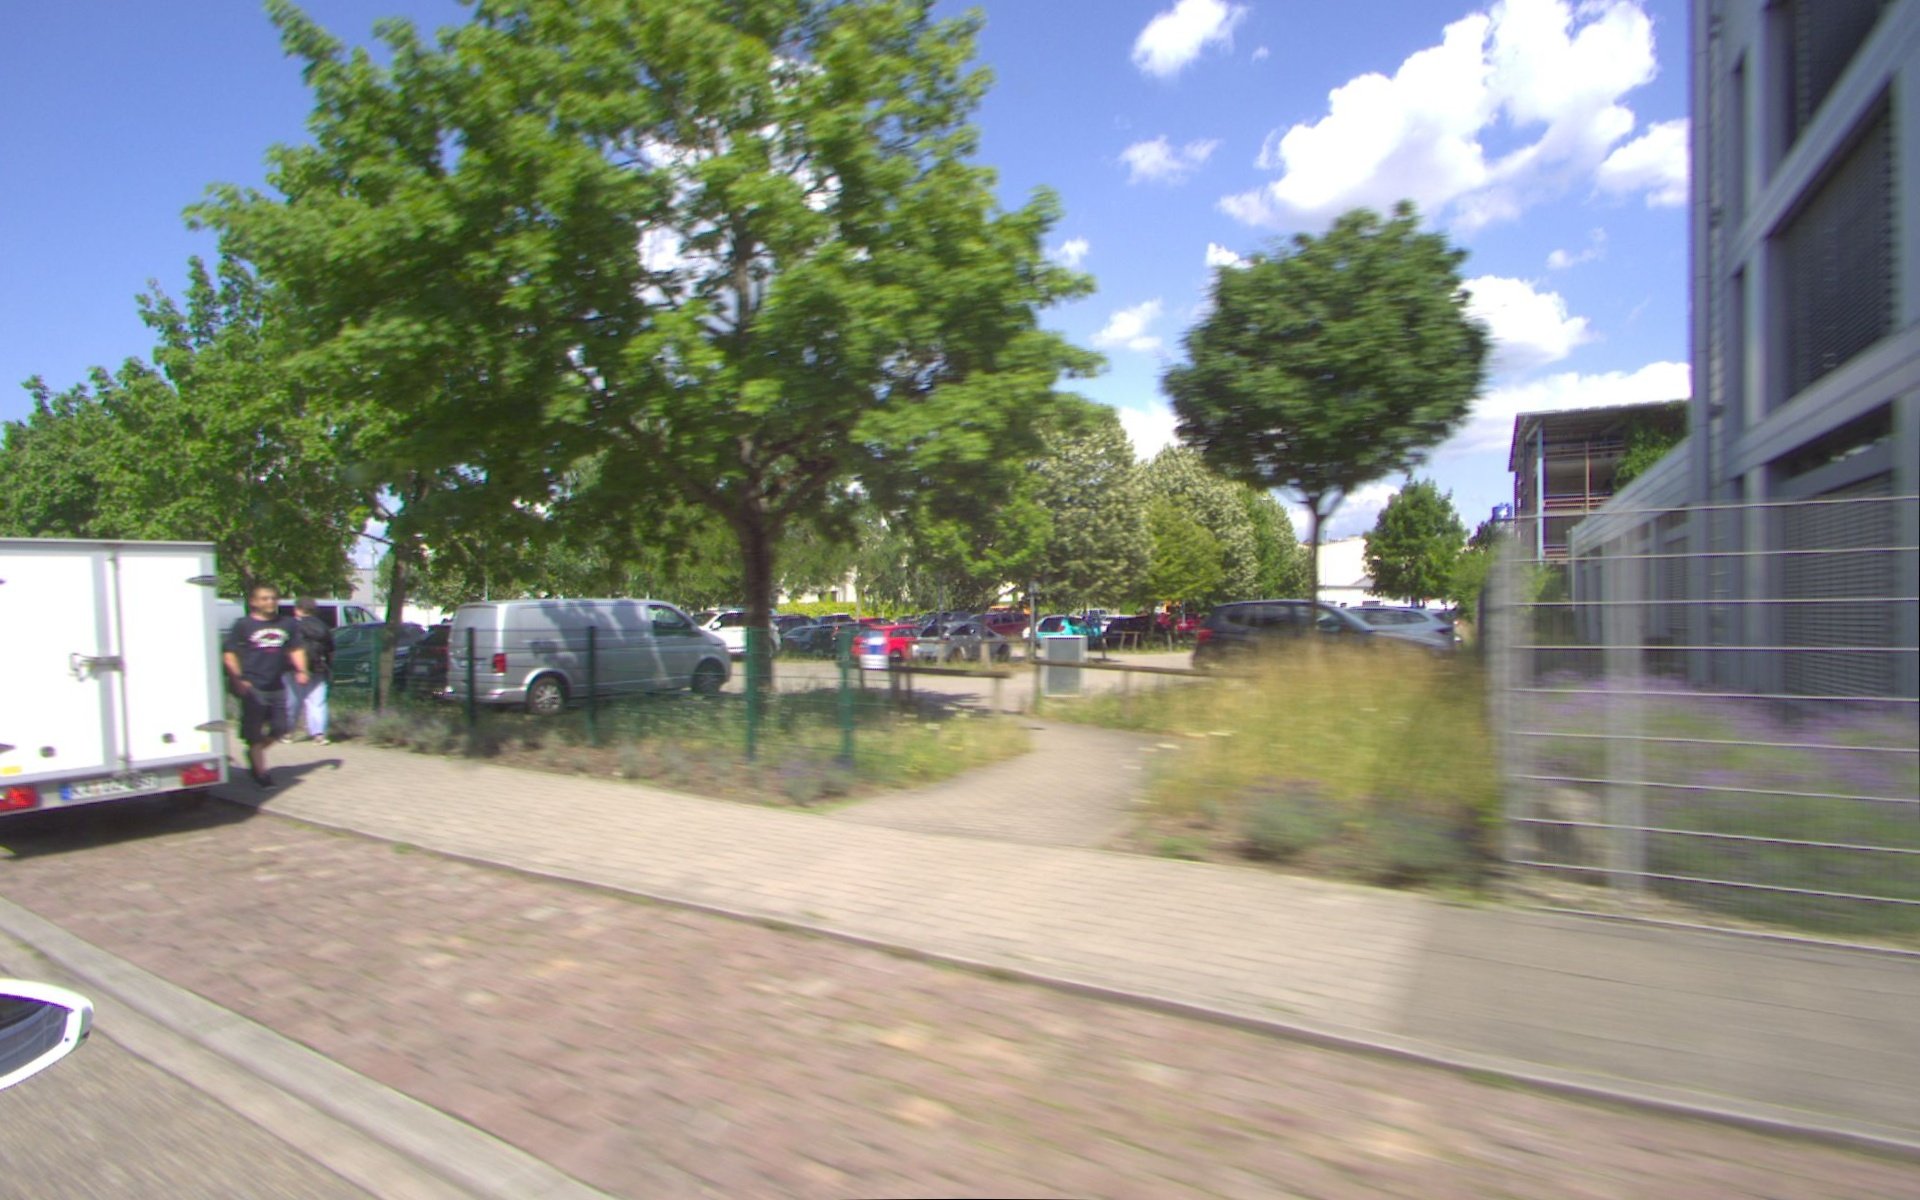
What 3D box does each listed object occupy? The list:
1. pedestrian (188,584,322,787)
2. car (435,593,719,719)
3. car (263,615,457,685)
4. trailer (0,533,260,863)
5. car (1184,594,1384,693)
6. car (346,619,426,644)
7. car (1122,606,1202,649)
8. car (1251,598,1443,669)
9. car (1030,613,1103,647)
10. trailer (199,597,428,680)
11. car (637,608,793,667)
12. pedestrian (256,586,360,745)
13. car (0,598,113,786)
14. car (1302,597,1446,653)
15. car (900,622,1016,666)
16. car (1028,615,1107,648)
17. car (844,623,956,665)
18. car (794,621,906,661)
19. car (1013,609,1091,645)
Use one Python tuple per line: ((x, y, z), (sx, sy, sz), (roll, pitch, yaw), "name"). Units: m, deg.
((-6.168, 0.709, 8.782), (0.572, 1.670, 0.724), (1, 4, 34), "pedestrian")
((-6.784, 0.891, 18.175), (1.974, 1.992, 4.452), (-1, 0, 36), "car")
((-15.333, 1.217, 25.758), (1.673, 1.657, 3.970), (-1, -1, 39), "car")
((-7.380, 0.634, 7.935), (3.895, 2.096, 1.739), (-1, 2, 36), "trailer")
((5.971, 0.768, 18.418), (3.283, 1.669, 1.821), (-1, -1, 27), "car")
((-33.525, 1.814, 58.498), (3.963, 1.414, 1.833), (0, -1, -33), "car")
((11.979, 1.670, 59.153), (2.073, 2.387, 5.334), (-1, -3, 45), "car")
((9.929, 0.888, 25.752), (4.462, 1.701, 1.730), (-1, -2, 27), "car")
((4.754, 1.361, 44.522), (1.571, 1.430, 3.269), (-1, -3, 44), "car")
((-17.950, 1.007, 28.042), (2.037, 2.109, 5.025), (-1, -1, 39), "trailer")
((-7.958, 1.154, 32.957), (1.892, 1.790, 4.828), (0, 0, 40), "car")
((-7.337, 0.707, 11.270), (0.729, 1.716, 0.719), (-1, 1, 34), "pedestrian")
((-10.766, 0.901, 10.501), (4.650, 1.705, 1.853), (-1, 1, 37), "car")
((12.618, 0.804, 30.765), (3.931, 1.567, 1.954), (-2, -3, 20), "car")
((-0.014, 1.445, 34.133), (1.818, 1.392, 3.967), (-1, -2, 42), "car")
((4.838, 1.384, 44.726), (1.733, 1.392, 3.681), (-1, -1, 42), "car")
((-2.091, 1.512, 35.643), (1.700, 1.392, 3.967), (-1, -1, 42), "car")
((-4.076, 1.506, 37.497), (1.836, 1.392, 3.967), (-1, -2, 42), "car")
((4.778, 1.407, 51.634), (1.979, 1.792, 3.965), (-1, -3, 44), "car")
